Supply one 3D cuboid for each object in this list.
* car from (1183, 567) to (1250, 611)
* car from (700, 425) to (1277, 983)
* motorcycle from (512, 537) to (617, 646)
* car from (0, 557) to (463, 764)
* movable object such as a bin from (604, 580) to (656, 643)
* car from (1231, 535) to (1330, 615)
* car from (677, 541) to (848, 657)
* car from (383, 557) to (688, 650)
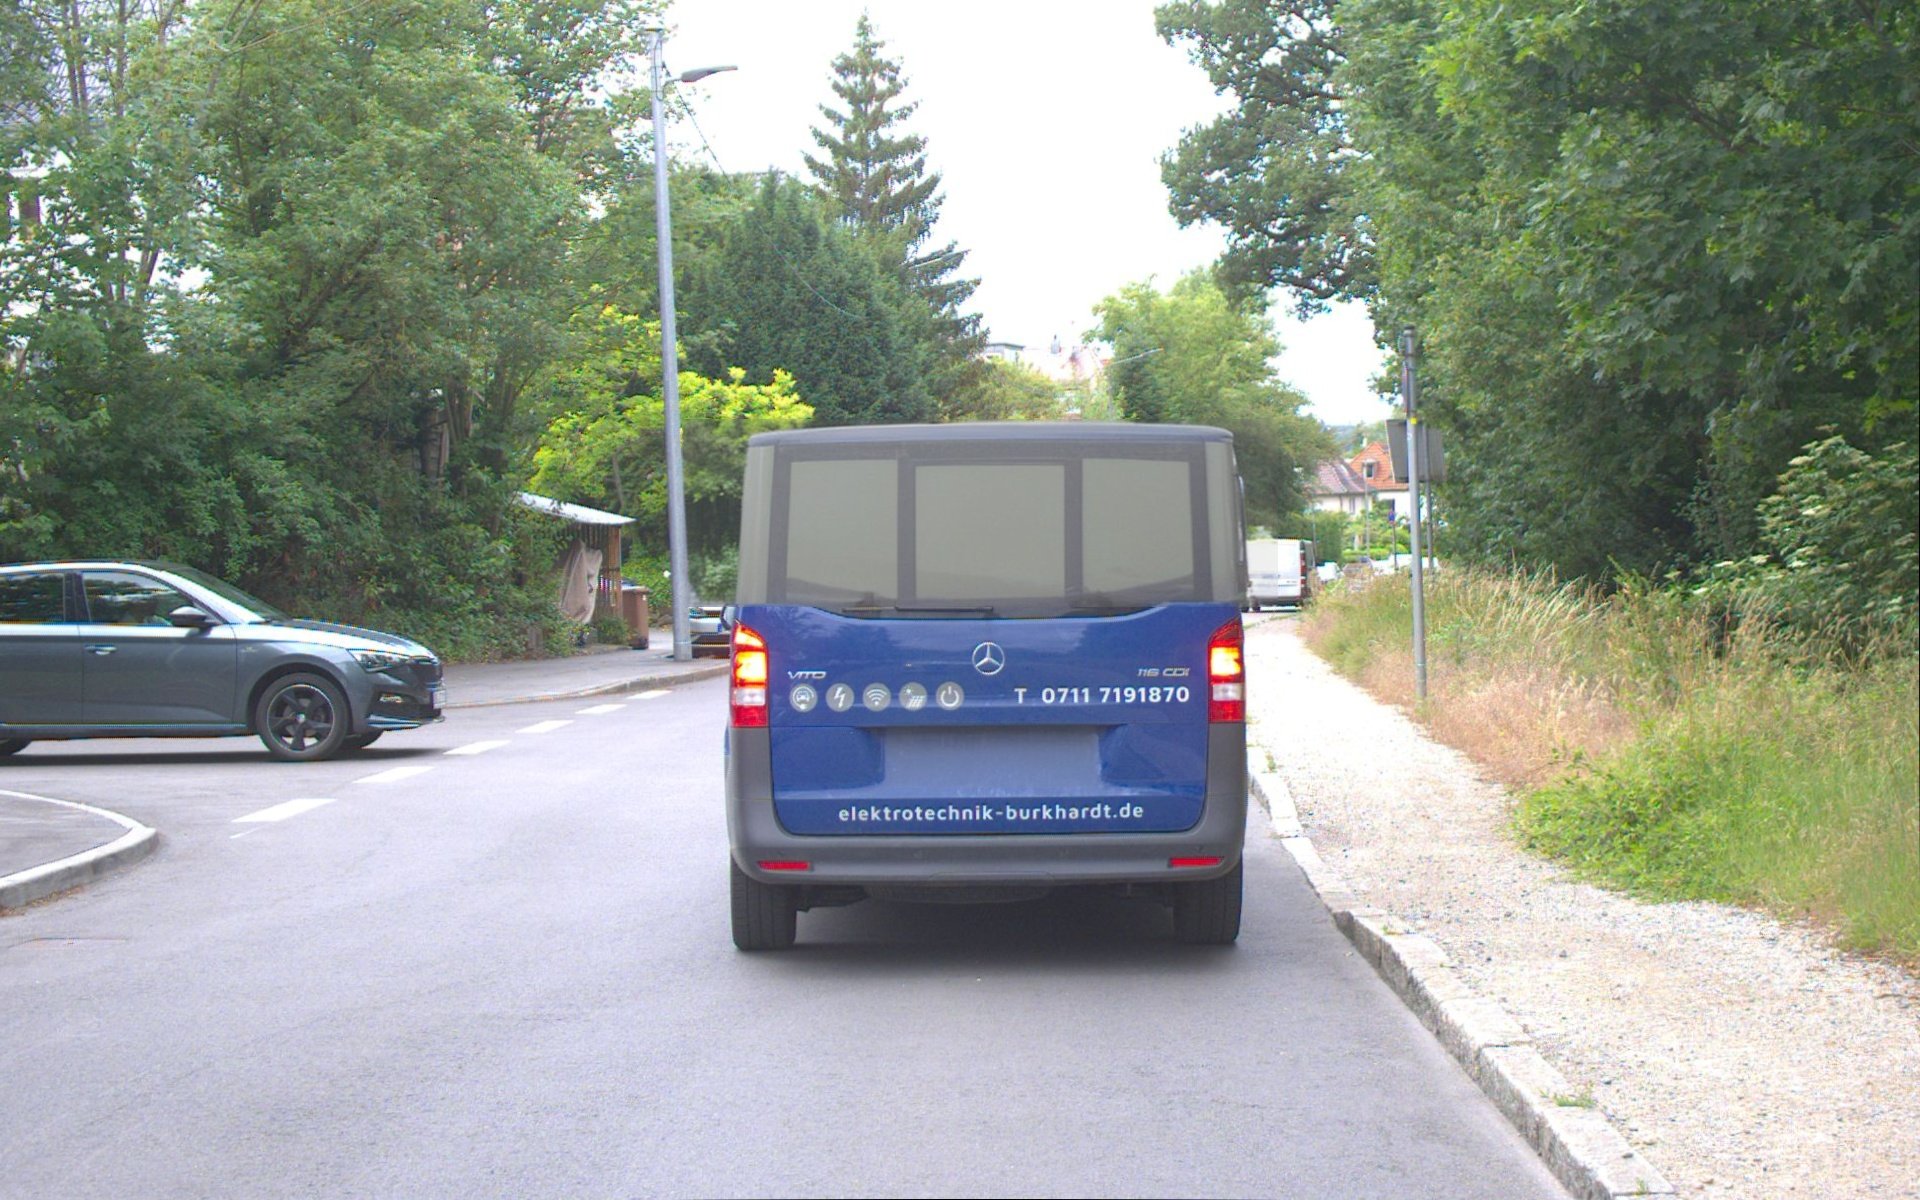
[{"bbox_3d":[8.441,-0.363,112.855,1.750,1.400,3.998,0,1,11],"label":"car"},{"bbox_3d":[0.162,0.302,13.866,1.936,1.873,4.530,0,1,2],"label":"car"},{"bbox_3d":[-5.506,-0.126,48.085,0.810,1.480,2.895,0,1,7],"label":"motorcycle"},{"bbox_3d":[-5.824,0.418,24.903,4.167,1.442,1.740,0,1,2],"label":"car"},{"bbox_3d":[-4.811,0.169,50.128,0.591,0.906,0.700,0,1,11],"label":"movable object such as a bin"},{"bbox_3d":[8.756,-0.715,93.619,2.207,2.056,6.132,-1,1,10],"label":"car"},{"bbox_3d":[-2.558,-0.036,45.410,1.706,1.463,4.075,0,1,5],"label":"car"},{"bbox_3d":[-6.723,0.049,54.679,4.482,1.436,1.878,0,0,8],"label":"car"}]
